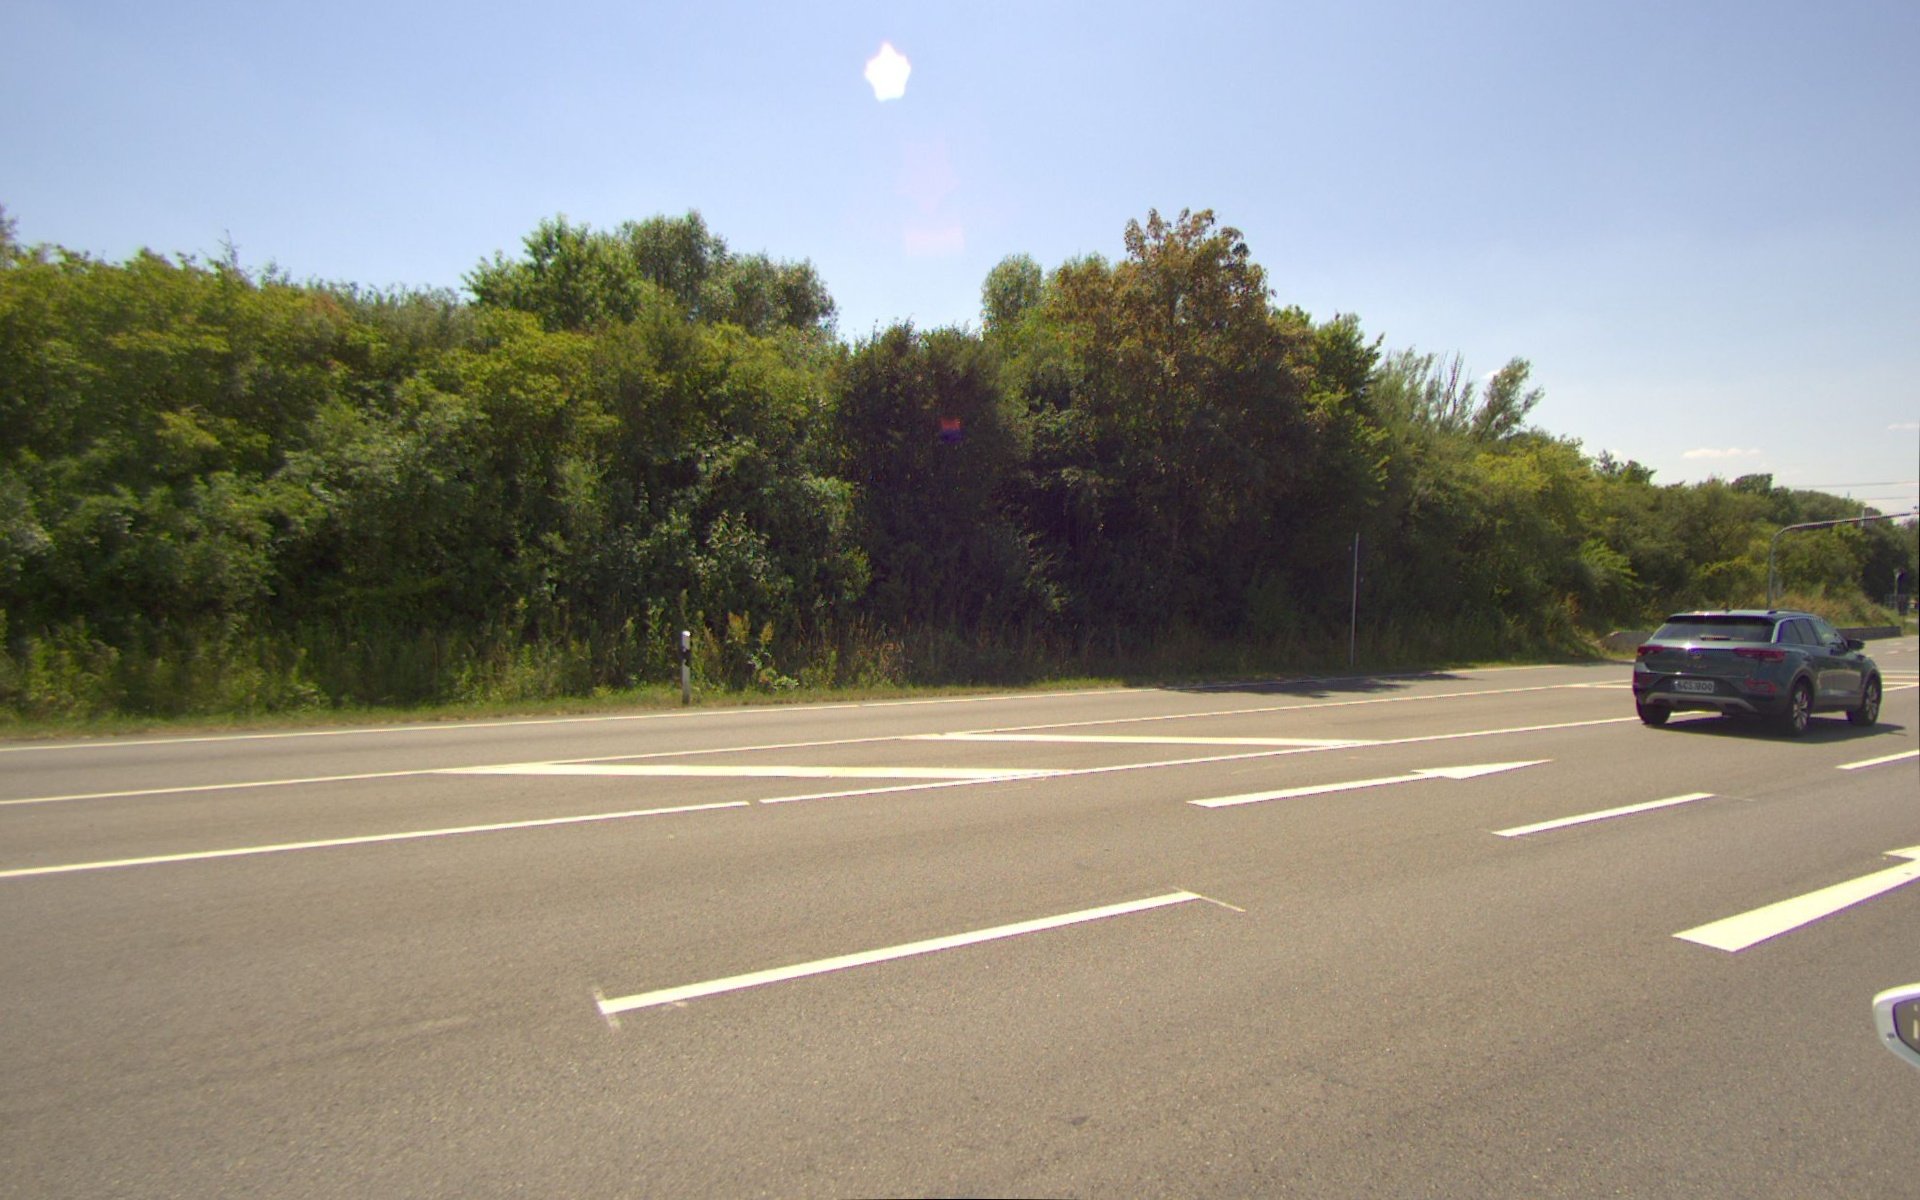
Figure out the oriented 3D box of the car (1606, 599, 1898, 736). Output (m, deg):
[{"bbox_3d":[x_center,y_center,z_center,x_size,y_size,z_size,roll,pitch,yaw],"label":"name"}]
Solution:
[{"bbox_3d":[10.962,0.829,13.824,4.343,1.608,1.824,1,0,-32],"label":"car"}]
